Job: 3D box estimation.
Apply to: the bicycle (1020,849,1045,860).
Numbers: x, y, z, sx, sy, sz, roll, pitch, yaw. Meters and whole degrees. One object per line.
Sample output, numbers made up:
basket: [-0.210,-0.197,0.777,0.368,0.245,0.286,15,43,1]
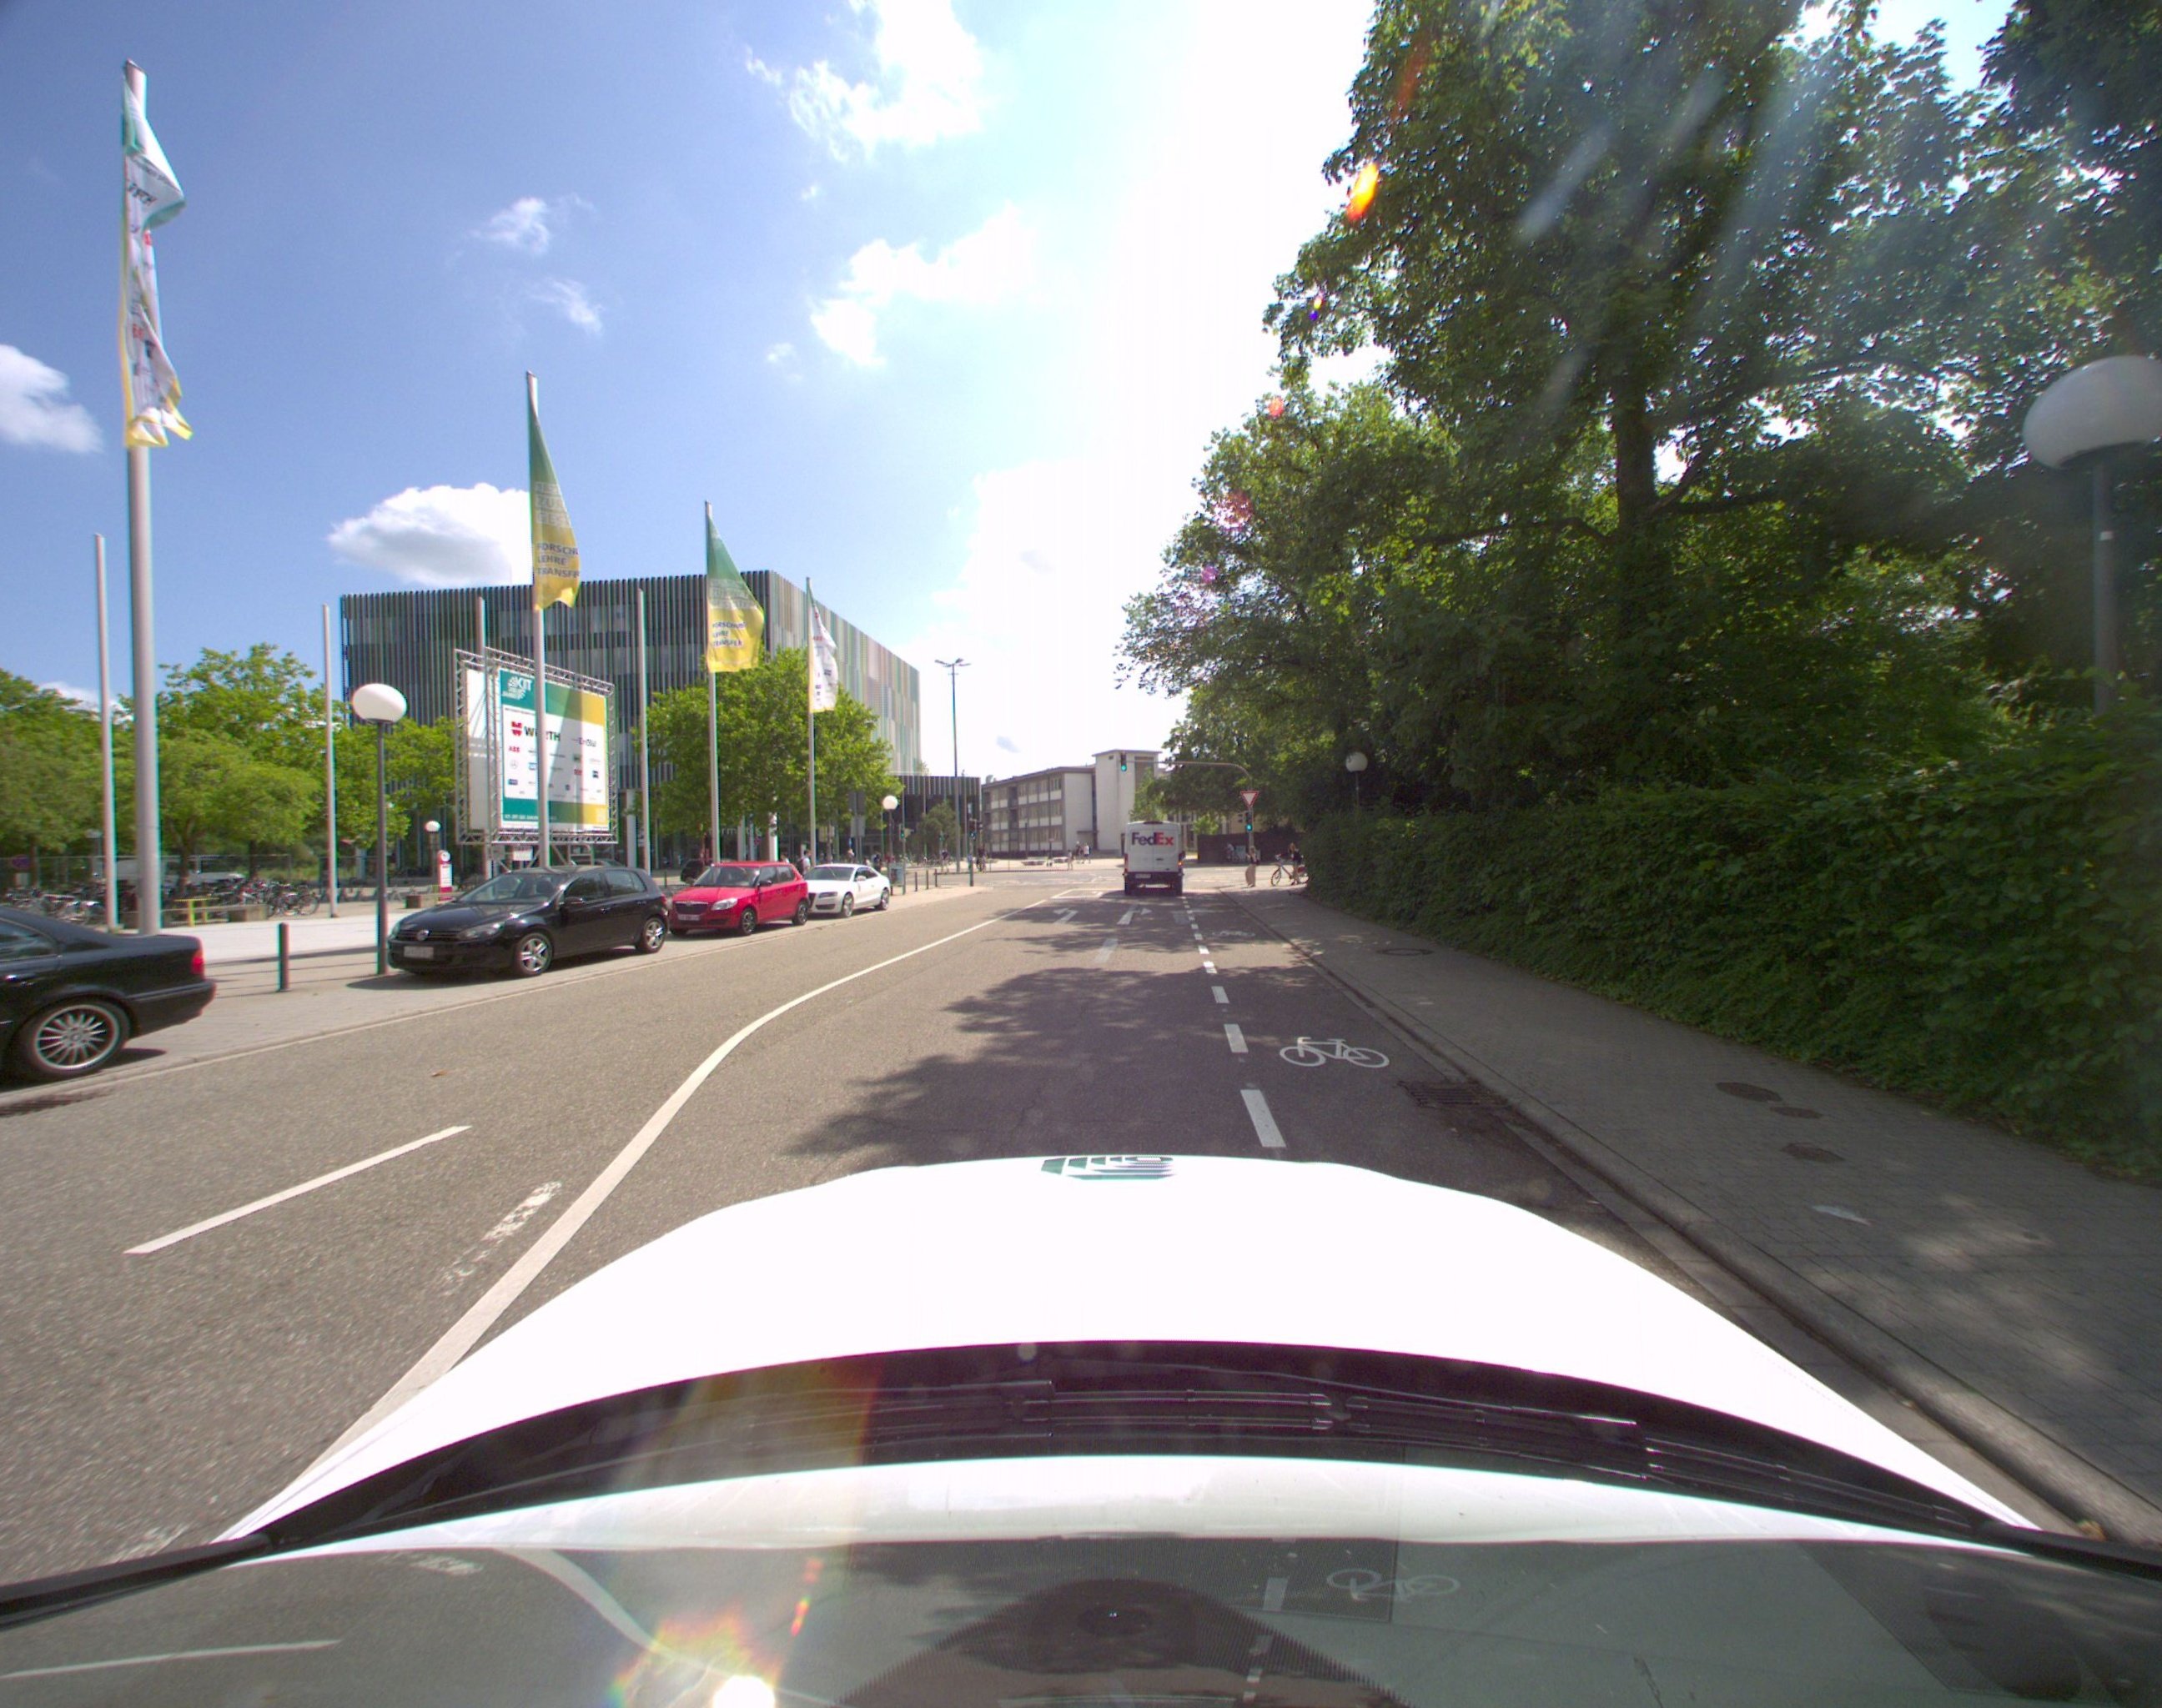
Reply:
bicycle: [-6.247,0.048,104.455,2.976,1.363,1.106,-1,0,-32]

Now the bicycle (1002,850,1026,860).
bicycle: [-8.956,0.099,109.036,2.976,1.363,1.106,-1,0,-32]

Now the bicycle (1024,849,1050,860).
bicycle: [-5.585,0.075,103.371,2.976,1.363,1.263,-1,0,-32]

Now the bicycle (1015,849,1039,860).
bicycle: [-7.015,0.048,105.698,2.976,1.363,1.106,-1,0,-32]

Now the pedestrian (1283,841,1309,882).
pedestrian: [8.485,0.295,32.174,0.729,1.576,0.726,-4,-1,-1]

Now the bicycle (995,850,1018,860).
bicycle: [-10.175,0.108,111.061,2.976,1.363,1.106,-1,0,-32]

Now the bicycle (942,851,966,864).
bicycle: [-13.330,0.360,85.246,1.207,1.237,2.917,-1,0,-40]

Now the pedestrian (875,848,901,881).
pedestrian: [-11.133,0.598,47.113,0.799,1.807,1.274,-2,0,24]

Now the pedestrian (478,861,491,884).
pedestrian: [-54.267,1.715,74.119,0.730,2.076,0.589,-1,0,7]

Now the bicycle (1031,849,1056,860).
bicycle: [-4.679,0.068,102.013,2.976,1.363,1.106,-1,0,-32]

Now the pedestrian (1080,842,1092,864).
pedestrian: [0.424,-0.072,72.250,0.866,1.889,0.909,-1,0,-14]

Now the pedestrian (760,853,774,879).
pedestrian: [-32.091,1.222,83.225,0.968,2.565,1.016,-1,0,6]

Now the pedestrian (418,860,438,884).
pedestrian: [-60.728,1.706,75.772,0.968,2.201,1.016,-1,0,6]

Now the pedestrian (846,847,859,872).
pedestrian: [-23.146,0.567,82.608,0.980,2.565,1.003,-1,0,-37]

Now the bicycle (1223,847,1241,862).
bicycle: [12.354,0.065,66.469,0.839,1.145,2.008,-1,0,29]

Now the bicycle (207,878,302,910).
bicycle: [-34.619,1.646,34.191,0.995,1.149,2.949,-1,0,-2]

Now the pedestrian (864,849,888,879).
pedestrian: [-12.786,0.620,50.783,0.853,1.818,1.103,-2,0,29]

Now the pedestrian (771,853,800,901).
pedestrian: [-11.581,0.894,31.942,0.715,1.859,0.772,-1,0,7]

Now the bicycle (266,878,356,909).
bicycle: [-32.340,1.629,34.278,0.995,1.148,2.950,-1,0,-1]

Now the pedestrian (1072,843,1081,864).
pedestrian: [-0.413,-0.063,72.996,0.669,1.815,0.812,-1,0,-13]

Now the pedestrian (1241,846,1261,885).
pedestrian: [6.857,0.460,32.850,0.727,1.575,0.777,0,0,8]

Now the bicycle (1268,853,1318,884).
bicycle: [8.404,0.581,32.320,1.732,1.127,0.593,-4,-1,-1]

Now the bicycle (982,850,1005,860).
bicycle: [-12.419,0.107,115.807,2.976,1.363,1.106,-1,0,-32]

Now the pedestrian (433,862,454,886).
pedestrian: [-57.713,1.798,73.777,0.968,2.176,1.130,-1,0,6]

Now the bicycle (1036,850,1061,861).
bicycle: [-4.057,0.169,100.848,2.976,1.363,1.106,-1,0,-32]

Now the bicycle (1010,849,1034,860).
bicycle: [-7.688,0.056,106.825,2.976,1.363,1.106,-1,0,-32]

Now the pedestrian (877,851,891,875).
pedestrian: [-13.951,0.644,57.665,0.749,1.678,0.757,-2,0,7]

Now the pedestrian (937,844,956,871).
pedestrian: [-9.638,0.265,58.454,0.697,1.855,1.405,-2,2,15]

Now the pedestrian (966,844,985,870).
pedestrian: [-7.895,0.199,60.892,0.822,1.870,1.091,-2,0,29]

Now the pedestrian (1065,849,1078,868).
pedestrian: [-0.759,0.364,64.352,0.826,1.523,0.811,-1,0,-14]

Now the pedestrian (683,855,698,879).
pedestrian: [-38.672,1.296,80.641,0.968,2.345,1.016,-1,0,6]

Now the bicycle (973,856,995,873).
bicycle: [-6.766,0.705,56.730,0.764,1.122,2.035,-2,0,16]

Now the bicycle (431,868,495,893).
bicycle: [-29.103,1.231,38.371,2.597,1.113,0.666,-1,0,3]

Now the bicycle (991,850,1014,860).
bicycle: [-10.911,0.112,112.623,2.976,1.363,1.106,-1,0,-32]

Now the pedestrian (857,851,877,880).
pedestrian: [-12.367,0.662,47.069,0.766,1.597,0.800,-2,0,7]

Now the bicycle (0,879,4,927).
bicycle: [-32.475,1.454,22.566,1.054,1.411,2.962,-1,0,14]

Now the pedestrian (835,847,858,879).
pedestrian: [-14.237,0.542,49.420,0.844,1.876,1.012,-2,0,29]

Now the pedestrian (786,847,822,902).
pedestrian: [-9.520,0.675,28.006,0.715,1.851,1.092,0,0,9]

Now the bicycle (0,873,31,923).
bicycle: [-31.356,1.263,22.331,1.054,1.411,2.962,-1,0,14]

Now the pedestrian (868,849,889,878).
pedestrian: [-12.215,0.566,49.126,0.818,1.654,0.867,-1,1,24]

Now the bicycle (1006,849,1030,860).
bicycle: [-8.340,0.089,107.948,2.976,1.363,1.106,-1,0,-32]

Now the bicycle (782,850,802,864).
bicycle: [-27.038,0.284,76.052,1.205,1.237,2.922,-1,0,-31]

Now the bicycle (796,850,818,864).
bicycle: [-25.835,0.297,76.756,1.382,1.237,2.922,-1,0,-31]
